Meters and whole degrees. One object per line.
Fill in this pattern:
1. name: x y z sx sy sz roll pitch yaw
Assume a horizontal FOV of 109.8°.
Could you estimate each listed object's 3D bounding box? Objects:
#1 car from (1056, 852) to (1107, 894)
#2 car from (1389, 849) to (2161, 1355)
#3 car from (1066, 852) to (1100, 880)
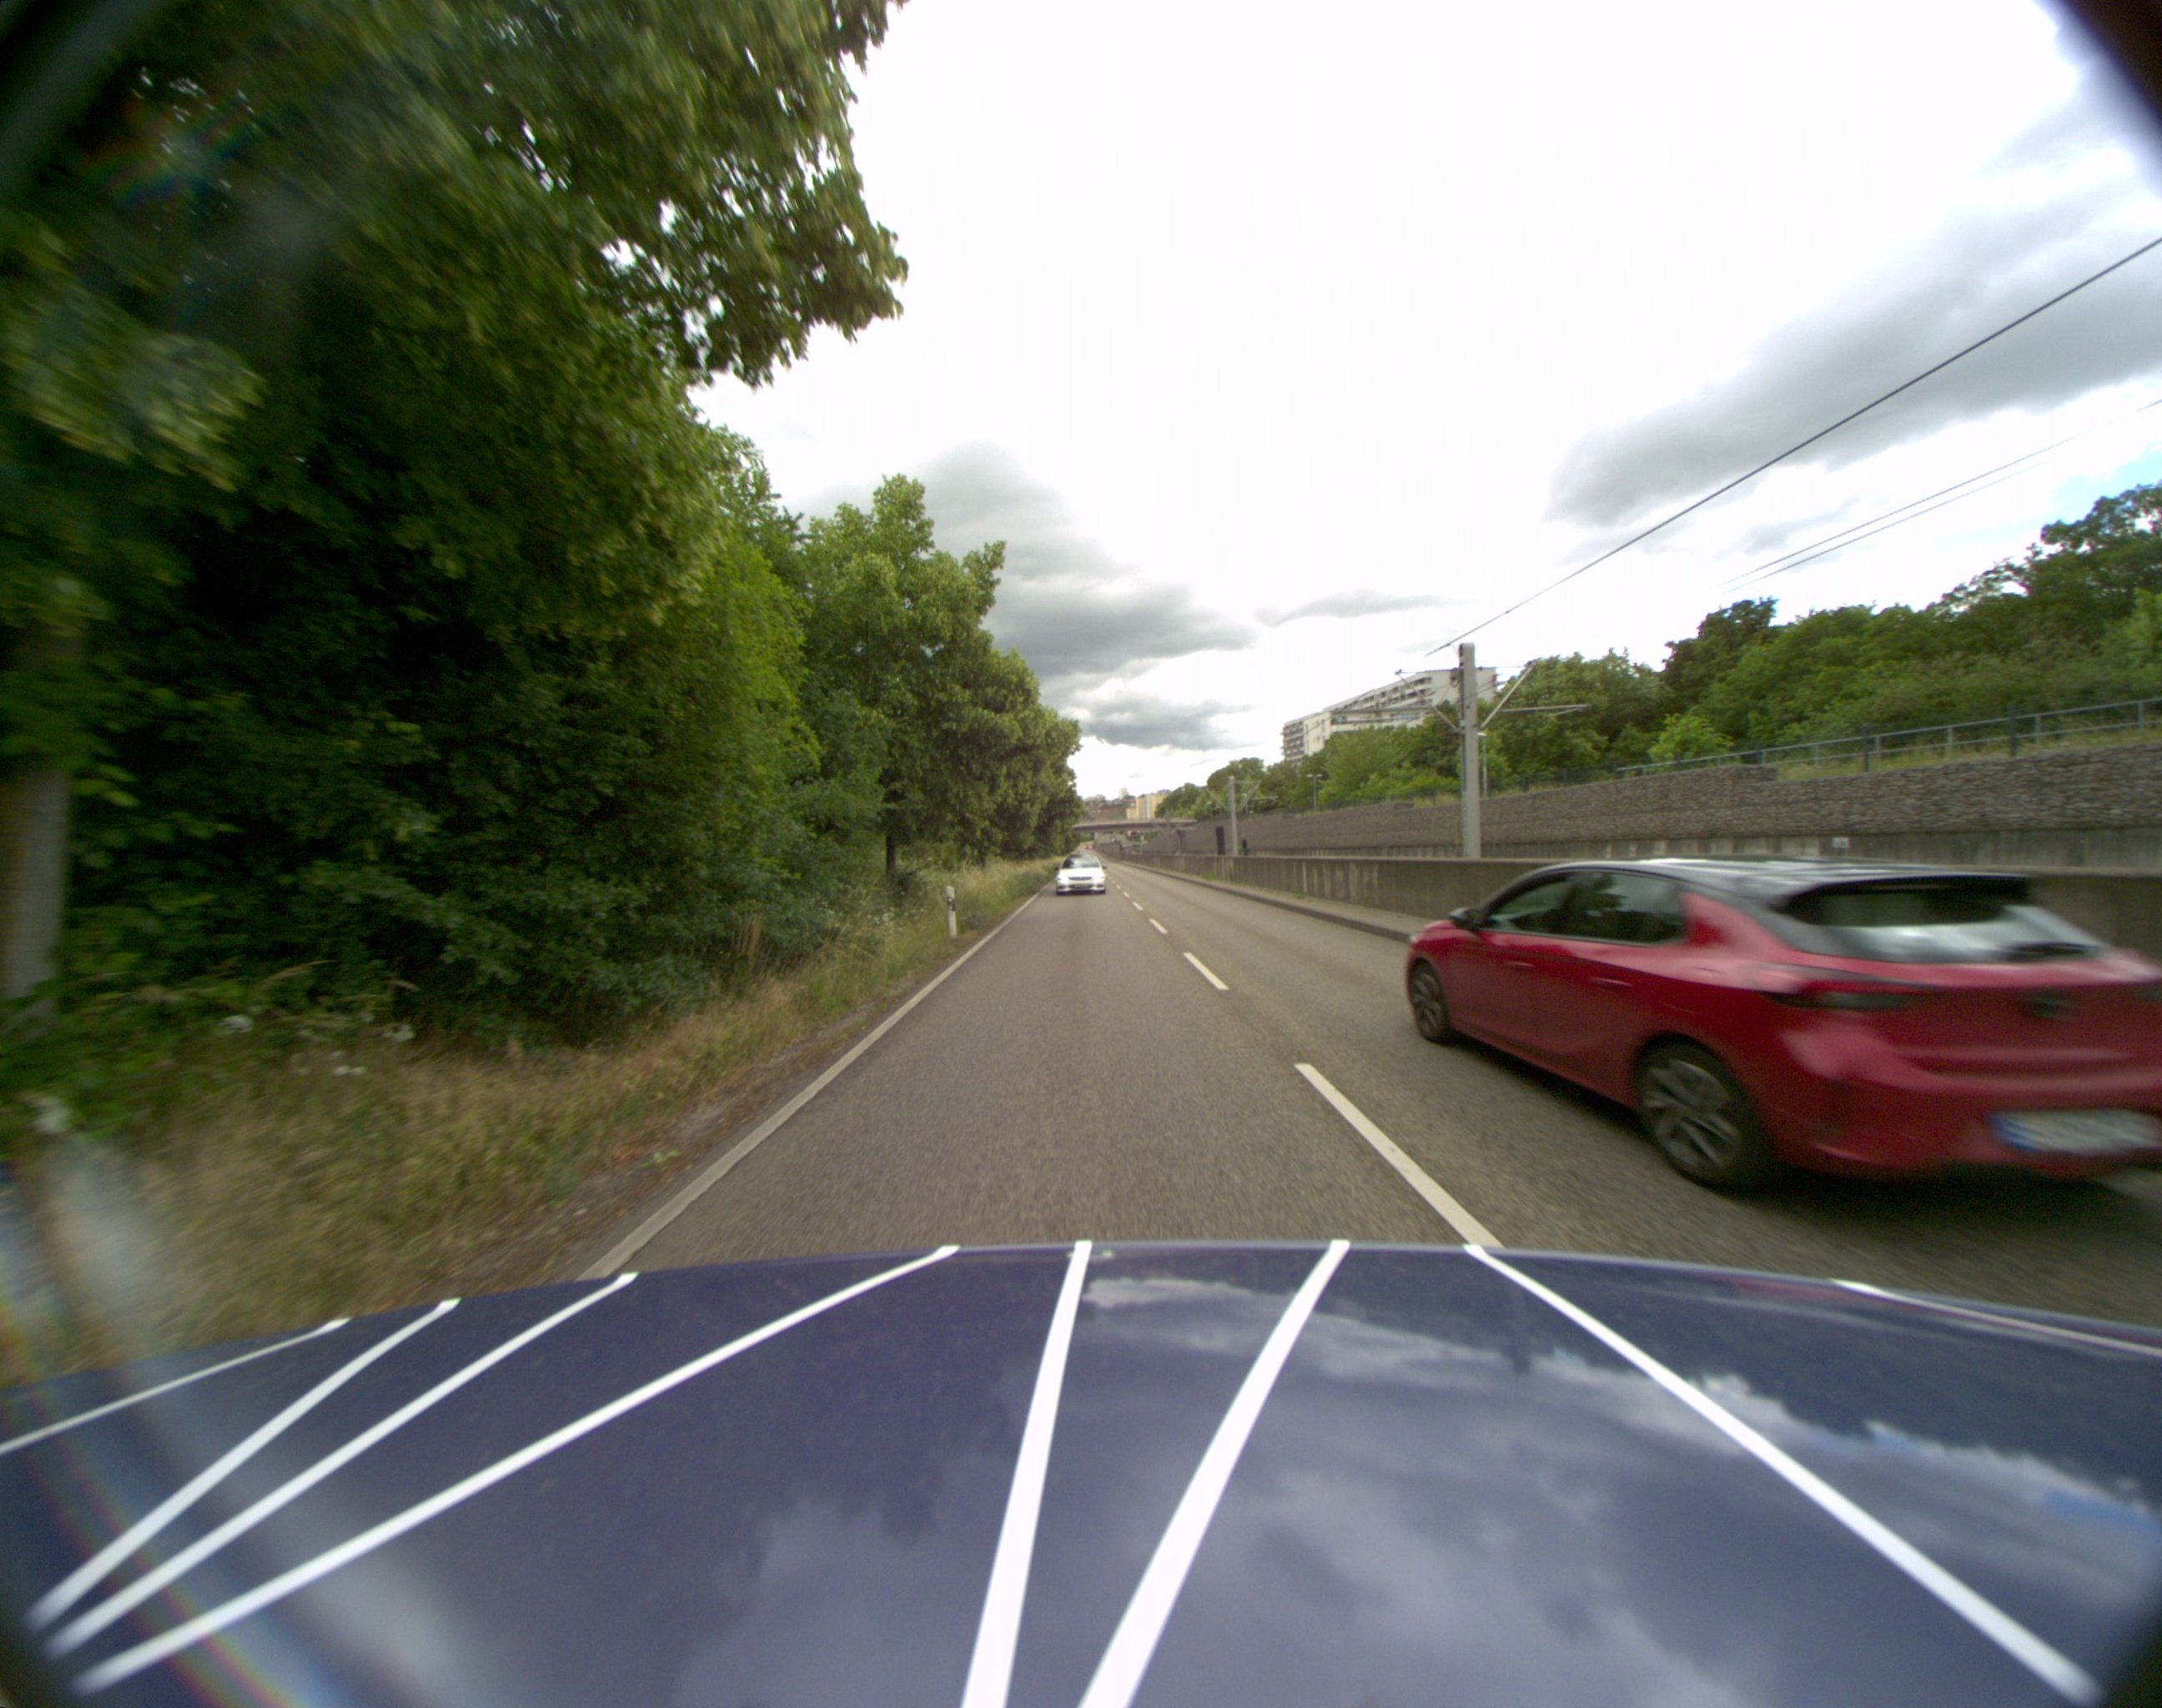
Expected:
1. car: 0.040 0.689 30.072 1.842 1.499 4.160 -1 0 0
2. car: 3.407 0.764 4.339 1.667 1.536 3.952 -2 0 0
3. car: 0.126 0.651 44.596 1.878 1.459 3.999 -2 1 0
